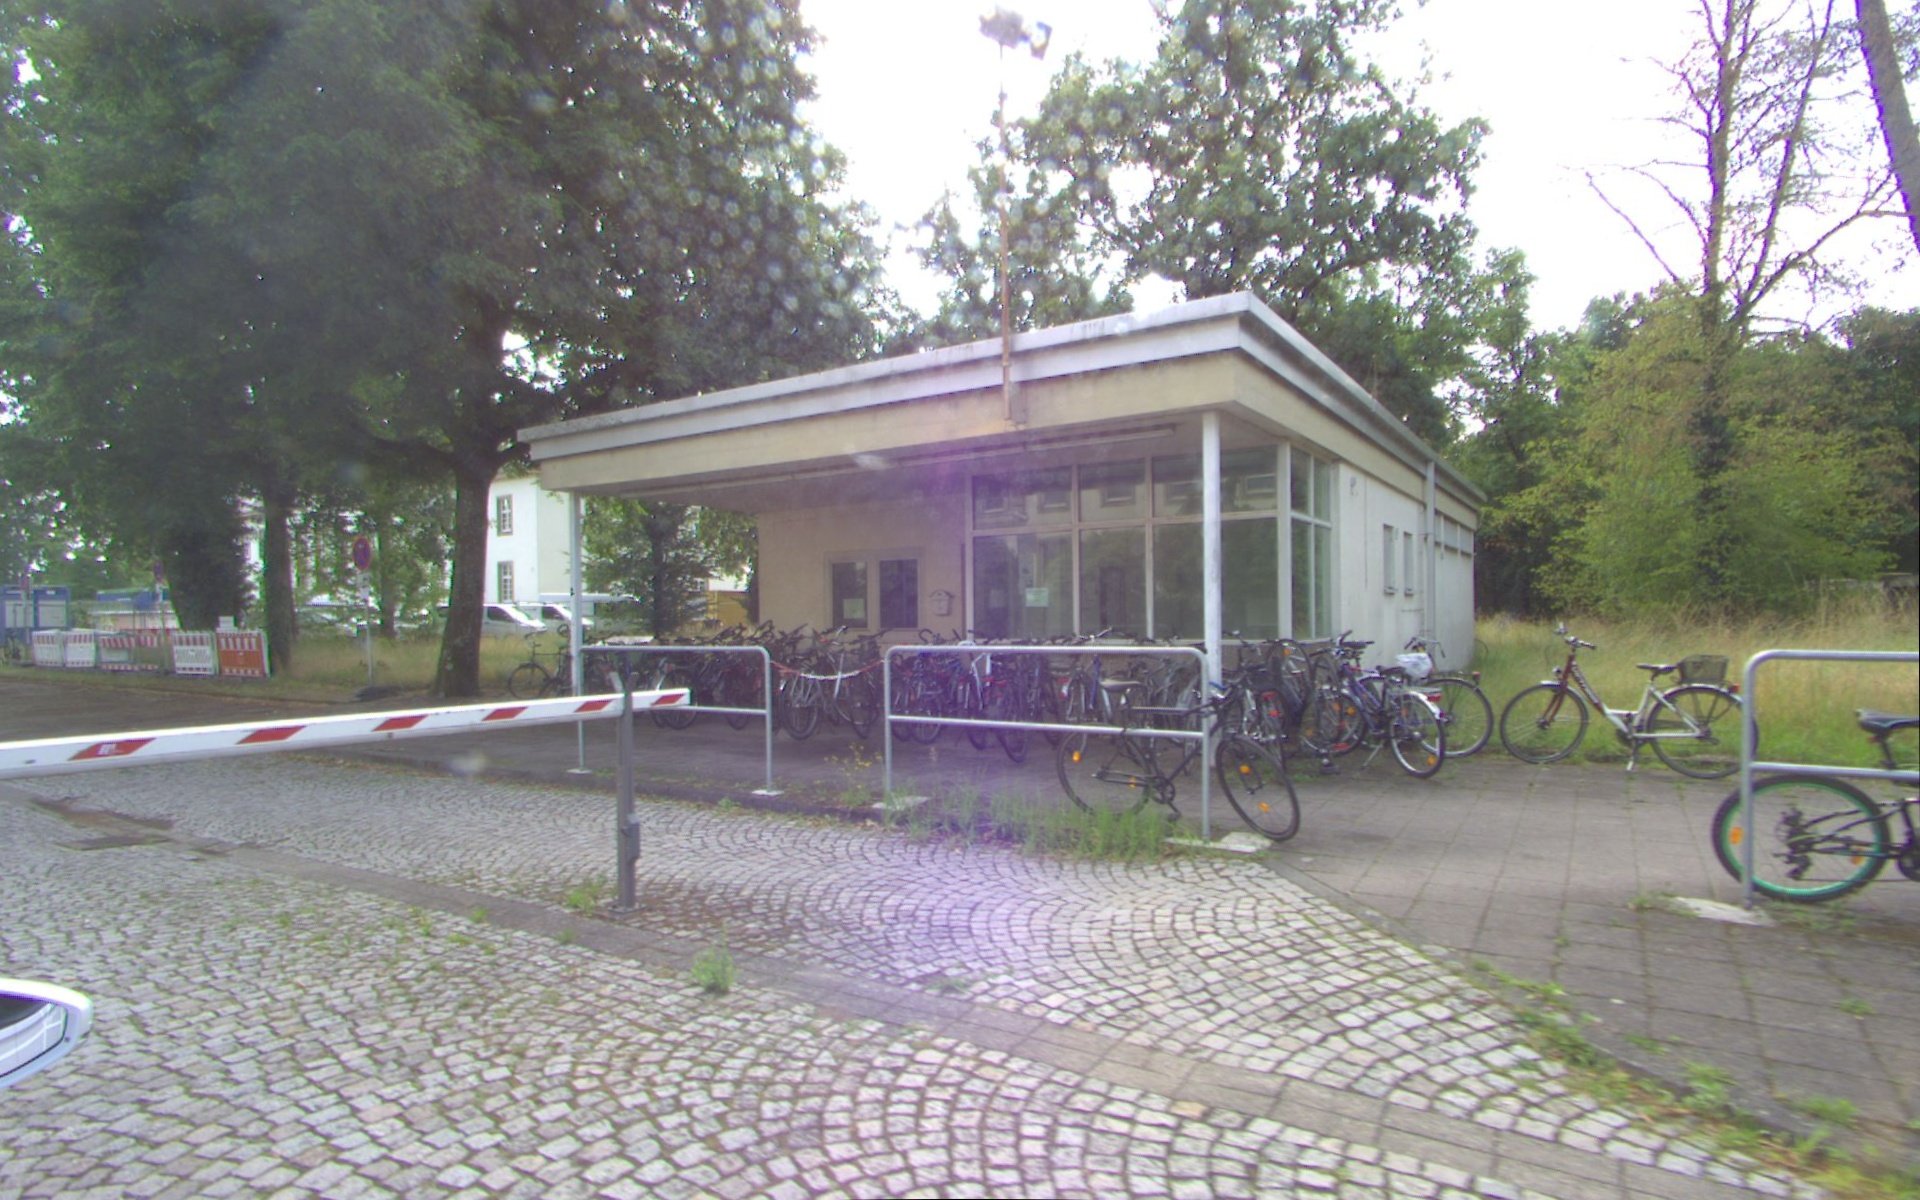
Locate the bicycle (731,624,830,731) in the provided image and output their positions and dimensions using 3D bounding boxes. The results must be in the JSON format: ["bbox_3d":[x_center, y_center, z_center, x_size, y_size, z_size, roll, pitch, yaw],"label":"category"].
[{"bbox_3d":[-2.159,0.909,12.272,0.488,1.186,1.805,-3,-1,12],"label":"bicycle"}]

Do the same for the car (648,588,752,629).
[{"bbox_3d":[-14.314,0.497,54.952,5.618,1.982,2.435,-3,-1,35],"label":"car"}]

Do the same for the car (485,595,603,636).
[{"bbox_3d":[-19.596,0.736,47.288,4.746,1.812,2.000,-1,-1,5],"label":"car"}]

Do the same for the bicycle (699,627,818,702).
[{"bbox_3d":[-3.102,0.991,15.369,1.866,1.097,0.371,-2,0,22],"label":"bicycle"}]

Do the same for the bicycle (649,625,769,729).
[{"bbox_3d":[-3.148,0.944,12.751,0.353,1.186,1.799,-3,-1,27],"label":"bicycle"}]

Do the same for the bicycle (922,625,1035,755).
[{"bbox_3d":[0.239,0.878,10.412,0.395,1.186,2.016,-3,-1,23],"label":"bicycle"}]

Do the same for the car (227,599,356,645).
[{"bbox_3d":[-28.643,0.927,43.007,1.973,1.844,4.208,-2,-1,35],"label":"car"}]

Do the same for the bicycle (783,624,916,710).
[{"bbox_3d":[-1.562,0.944,14.018,1.867,1.133,0.371,-3,-1,23],"label":"bicycle"}]

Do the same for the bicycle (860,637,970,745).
[{"bbox_3d":[-0.456,0.964,11.135,0.394,1.042,1.980,-3,-1,22],"label":"bicycle"}]

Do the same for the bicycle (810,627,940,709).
[{"bbox_3d":[-1.239,0.984,14.463,1.866,1.133,0.371,-2,0,22],"label":"bicycle"}]

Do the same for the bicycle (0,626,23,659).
[{"bbox_3d":[-30.287,1.353,31.802,1.702,1.020,0.331,-3,-1,32],"label":"bicycle"}]

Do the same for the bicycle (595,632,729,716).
[{"bbox_3d":[-4.150,1.020,13.985,1.764,1.133,0.446,0,0,7],"label":"bicycle"}]

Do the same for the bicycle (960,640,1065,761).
[{"bbox_3d":[0.560,0.953,9.998,0.348,1.044,1.769,-3,-1,26],"label":"bicycle"}]

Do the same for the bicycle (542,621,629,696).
[{"bbox_3d":[-6.236,0.985,16.649,1.533,1.186,0.503,-3,-1,32],"label":"bicycle"}]

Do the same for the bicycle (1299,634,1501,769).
[{"bbox_3d":[3.855,0.856,8.820,1.573,1.097,0.434,-1,0,32],"label":"bicycle"}]

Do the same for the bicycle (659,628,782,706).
[{"bbox_3d":[-3.535,0.990,14.721,1.867,1.095,0.371,-2,0,23],"label":"bicycle"}]

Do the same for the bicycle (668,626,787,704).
[{"bbox_3d":[-3.522,0.974,15.121,1.866,1.134,0.371,-1,0,22],"label":"bicycle"}]

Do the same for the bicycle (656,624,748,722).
[{"bbox_3d":[-3.371,0.934,13.175,0.353,1.186,1.378,-3,-1,24],"label":"bicycle"}]

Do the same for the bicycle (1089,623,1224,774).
[{"bbox_3d":[1.858,0.838,9.213,0.479,1.186,2.066,-3,-1,31],"label":"bicycle"}]

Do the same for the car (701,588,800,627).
[{"bbox_3d":[-12.212,0.474,58.199,5.618,1.982,2.435,-3,-1,35],"label":"car"}]

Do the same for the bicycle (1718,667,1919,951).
[{"bbox_3d":[4.186,0.859,4.181,1.572,1.071,0.728,0,1,33],"label":"bicycle"}]

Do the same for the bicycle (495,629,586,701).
[{"bbox_3d":[-6.833,1.040,16.298,1.561,1.101,0.503,0,1,29],"label":"bicycle"}]

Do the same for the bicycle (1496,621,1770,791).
[{"bbox_3d":[5.191,0.773,7.820,0.432,1.186,1.708,-2,0,-44],"label":"bicycle"}]

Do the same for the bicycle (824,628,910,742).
[{"bbox_3d":[-1.030,0.924,11.448,0.394,1.174,1.704,-3,-1,14],"label":"bicycle"}]

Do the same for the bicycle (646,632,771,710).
[{"bbox_3d":[-3.615,0.999,14.364,1.880,1.081,0.371,-1,0,22],"label":"bicycle"}]

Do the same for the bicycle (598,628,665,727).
[{"bbox_3d":[-4.222,0.967,12.951,0.352,1.186,1.383,-2,-1,1],"label":"bicycle"}]

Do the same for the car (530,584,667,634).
[{"bbox_3d":[-17.965,0.477,49.951,6.079,2.338,2.000,-1,-1,2],"label":"car"}]

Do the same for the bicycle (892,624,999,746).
[{"bbox_3d":[-0.117,0.876,10.993,0.394,1.186,1.980,-3,-1,22],"label":"bicycle"}]

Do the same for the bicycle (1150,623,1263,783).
[{"bbox_3d":[2.077,0.808,8.334,0.430,1.186,1.388,-3,-1,33],"label":"bicycle"}]

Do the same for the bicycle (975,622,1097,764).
[{"bbox_3d":[0.781,0.832,9.635,0.386,1.186,2.070,-3,-1,26],"label":"bicycle"}]

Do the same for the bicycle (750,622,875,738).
[{"bbox_3d":[-1.649,0.877,11.509,0.574,1.186,1.802,-3,-1,21],"label":"bicycle"}]

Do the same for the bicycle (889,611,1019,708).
[{"bbox_3d":[-0.045,0.738,12.964,0.441,1.133,1.880,-2,-1,45],"label":"bicycle"}]

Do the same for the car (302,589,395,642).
[{"bbox_3d":[-29.652,0.781,48.493,5.288,2.455,1.987,-2,-1,36],"label":"car"}]

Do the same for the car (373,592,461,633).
[{"bbox_3d":[-28.242,0.666,52.047,4.771,2.040,1.989,-1,0,33],"label":"car"}]

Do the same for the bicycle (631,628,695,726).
[{"bbox_3d":[-3.830,0.966,12.984,0.352,1.186,1.383,-2,-1,1],"label":"bicycle"}]

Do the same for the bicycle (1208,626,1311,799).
[{"bbox_3d":[2.370,0.841,8.066,0.428,1.186,1.652,-2,0,5],"label":"bicycle"}]

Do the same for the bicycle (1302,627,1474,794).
[{"bbox_3d":[3.458,0.841,8.243,0.428,1.134,1.650,-2,2,-12],"label":"bicycle"}]

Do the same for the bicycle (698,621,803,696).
[{"bbox_3d":[-3.378,0.945,16.072,1.871,1.143,0.370,-3,0,31],"label":"bicycle"}]

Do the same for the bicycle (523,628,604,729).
[{"bbox_3d":[-5.130,0.983,13.030,0.425,1.186,1.382,-3,1,1],"label":"bicycle"}]

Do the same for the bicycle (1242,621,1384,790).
[{"bbox_3d":[2.870,0.803,8.296,0.428,1.186,1.652,-2,1,-5],"label":"bicycle"}]

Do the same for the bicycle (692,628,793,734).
[{"bbox_3d":[-2.658,0.966,12.435,0.488,1.186,1.749,-3,-1,12],"label":"bicycle"}]

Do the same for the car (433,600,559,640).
[{"bbox_3d":[-20.691,0.905,44.758,4.746,1.671,2.000,-1,-1,5],"label":"car"}]

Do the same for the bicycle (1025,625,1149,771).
[{"bbox_3d":[1.246,0.864,9.461,0.478,1.186,1.947,-3,-1,27],"label":"bicycle"}]

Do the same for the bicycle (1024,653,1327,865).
[{"bbox_3d":[1.309,0.903,6.195,1.690,1.087,0.728,-1,1,33],"label":"bicycle"}]

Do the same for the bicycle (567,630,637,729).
[{"bbox_3d":[-4.619,0.999,12.989,0.352,1.186,1.383,-2,-1,1],"label":"bicycle"}]
